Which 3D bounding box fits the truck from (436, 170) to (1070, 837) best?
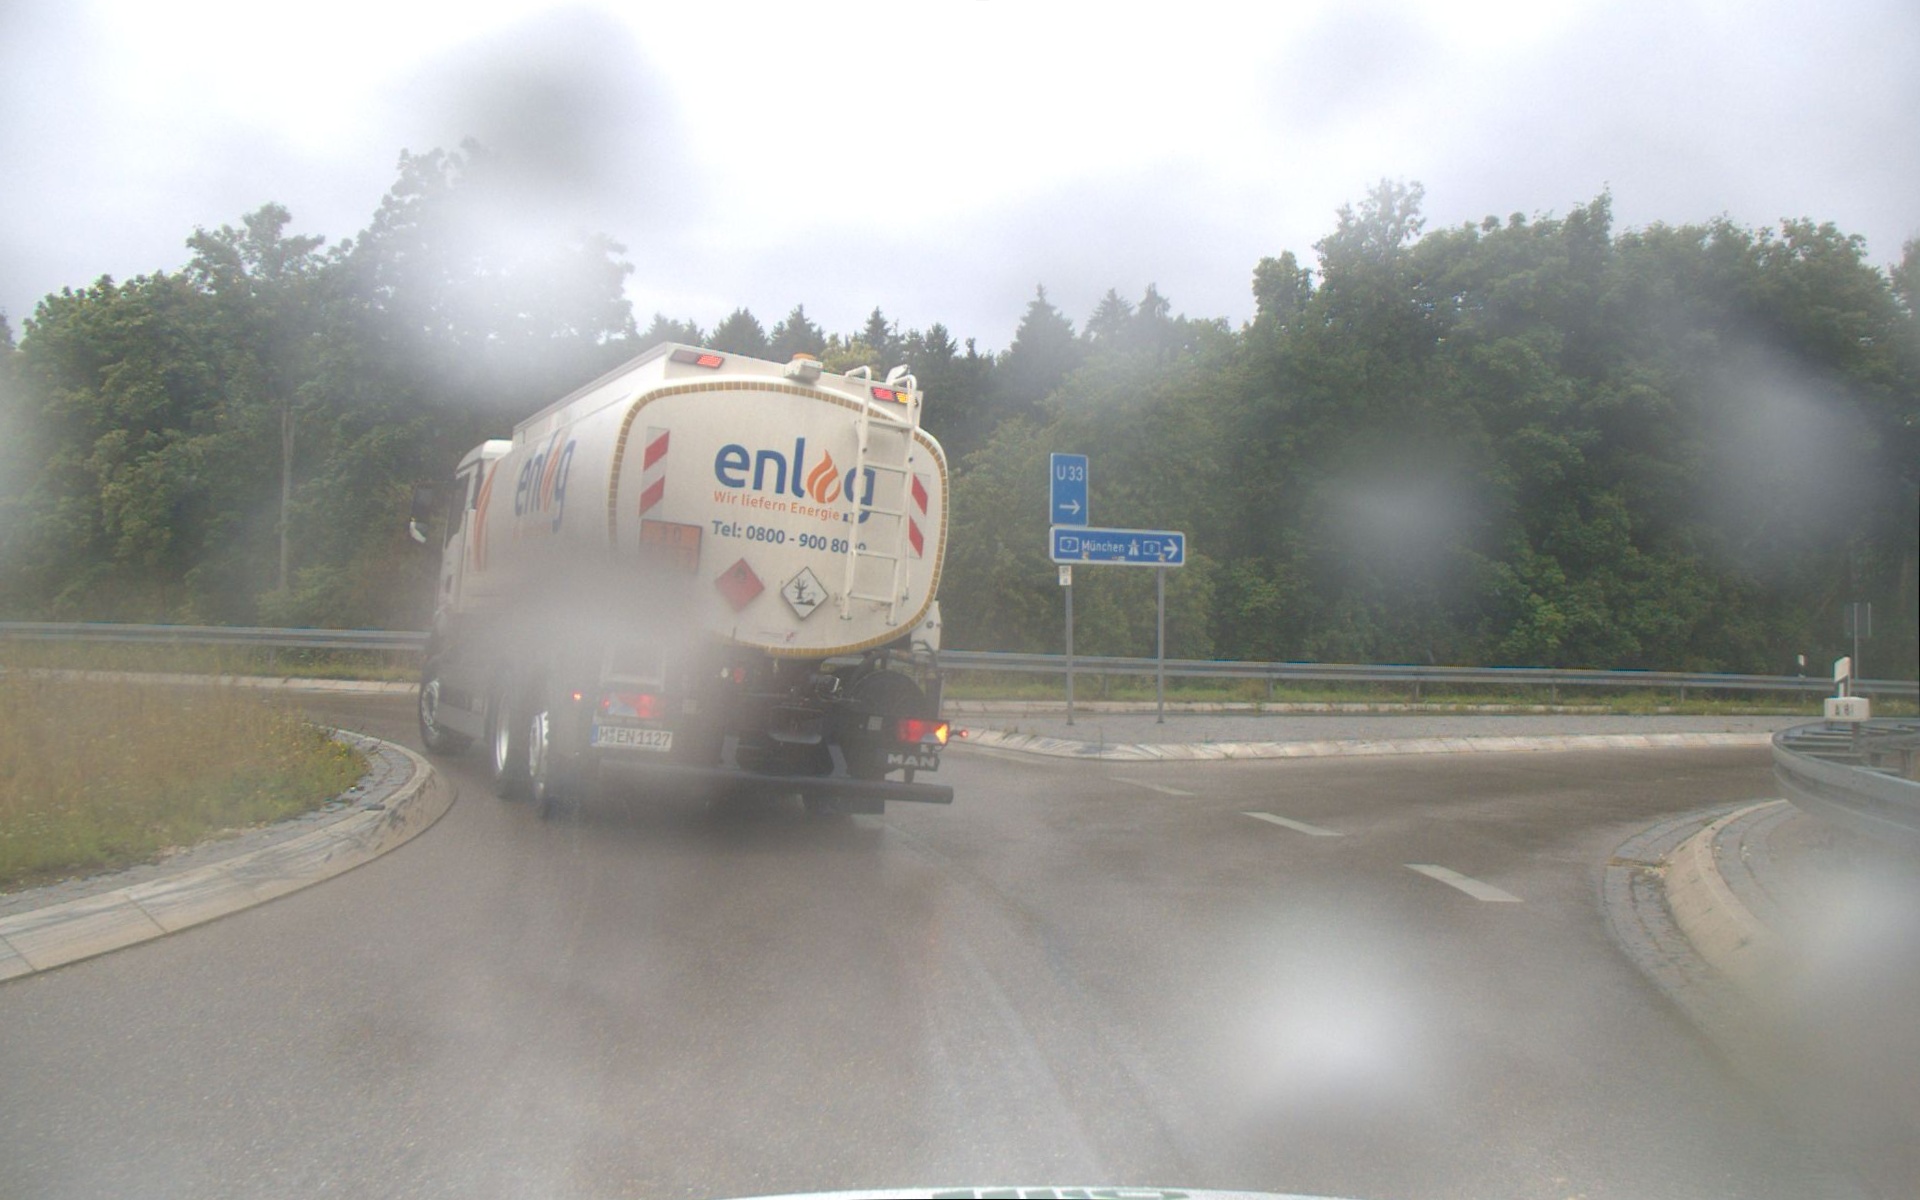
[{"bbox_3d":[-2.440,-0.551,14.350,2.999,3.919,8.757,2,0,-24],"label":"truck"}]
